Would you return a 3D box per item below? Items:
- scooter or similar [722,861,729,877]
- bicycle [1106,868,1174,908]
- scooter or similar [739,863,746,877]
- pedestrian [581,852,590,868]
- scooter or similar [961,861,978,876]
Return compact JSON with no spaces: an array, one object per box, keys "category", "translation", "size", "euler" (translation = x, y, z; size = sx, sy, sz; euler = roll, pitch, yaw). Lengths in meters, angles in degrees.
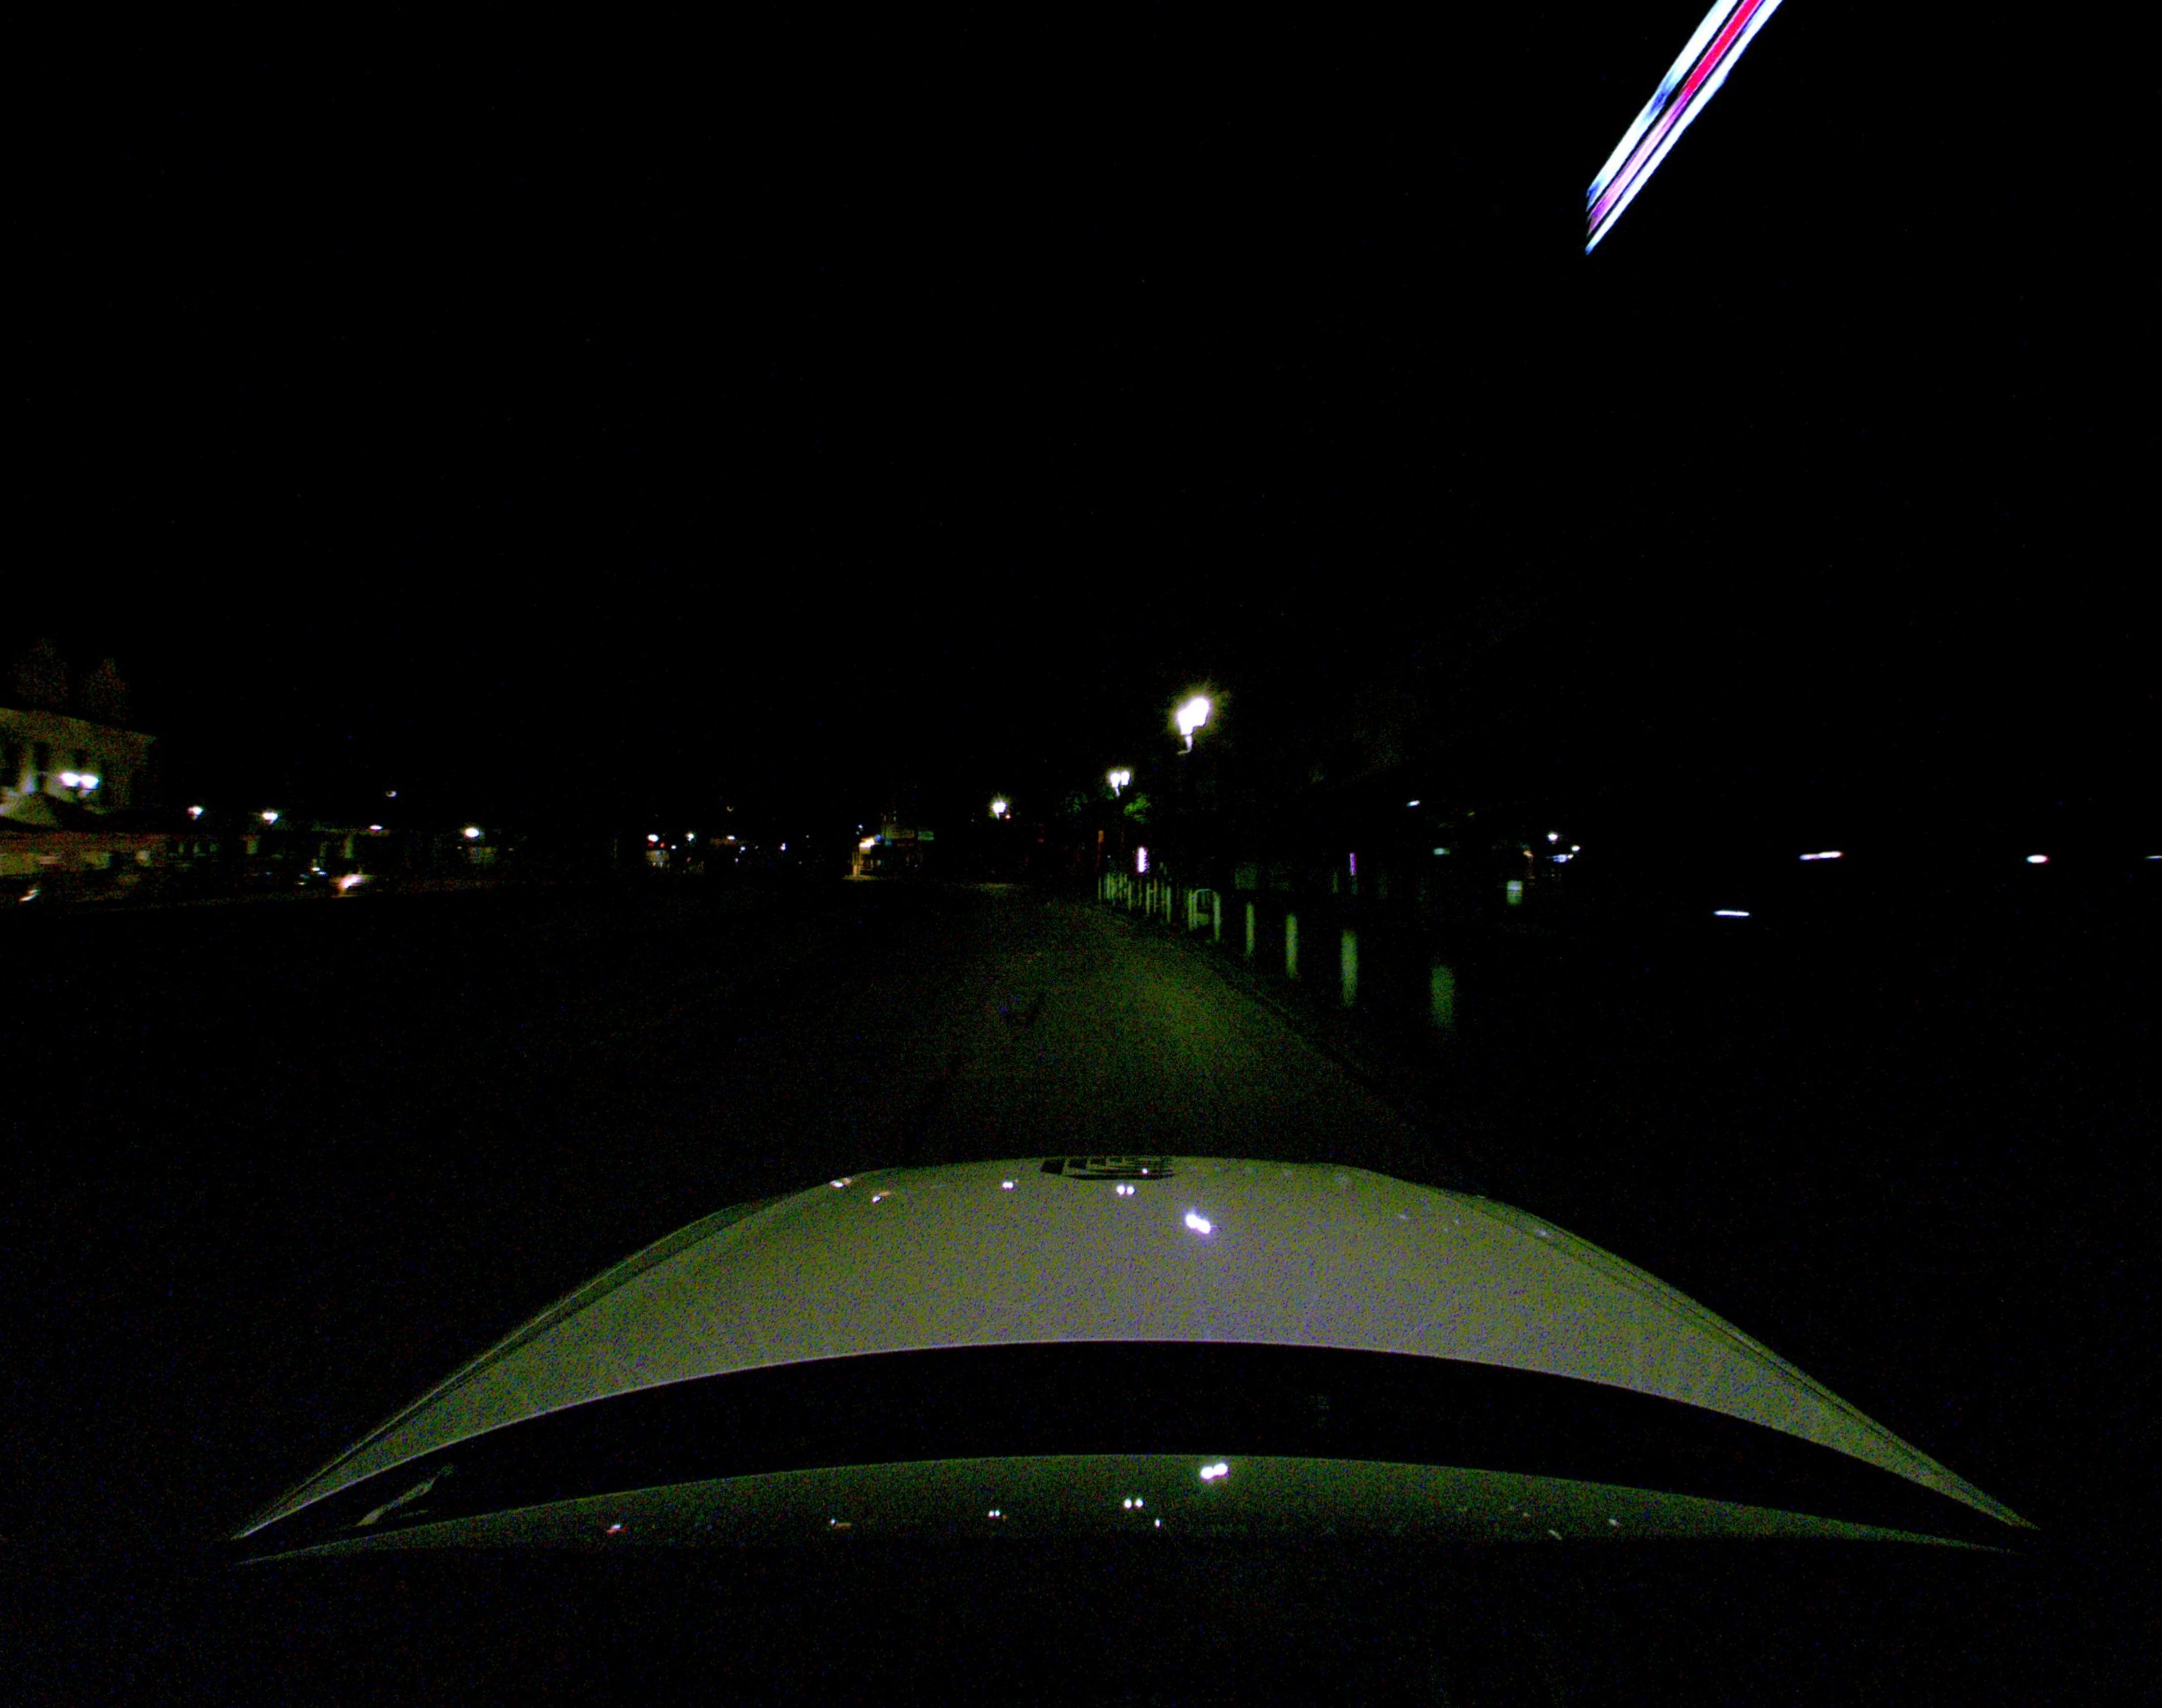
[{"category":"scooter or similar","translation":[-29.554,1.261,67.683],"size":[0.433,1.284,1.136],"euler":[-1,1,-30]},{"category":"bicycle","translation":[1.644,0.926,22.619],"size":[1.755,1.062,0.651],"euler":[1,0,-21]},{"category":"scooter or similar","translation":[-28.424,1.322,68.371],"size":[0.433,1.134,0.994],"euler":[-1,1,-30]},{"category":"pedestrian","translation":[-46.300,0.549,76.085],"size":[0.475,1.546,0.463],"euler":[0,0,30]},{"category":"scooter or similar","translation":[-9.001,1.173,65.888],"size":[1.252,1.227,0.594],"euler":[2,0,-24]}]
